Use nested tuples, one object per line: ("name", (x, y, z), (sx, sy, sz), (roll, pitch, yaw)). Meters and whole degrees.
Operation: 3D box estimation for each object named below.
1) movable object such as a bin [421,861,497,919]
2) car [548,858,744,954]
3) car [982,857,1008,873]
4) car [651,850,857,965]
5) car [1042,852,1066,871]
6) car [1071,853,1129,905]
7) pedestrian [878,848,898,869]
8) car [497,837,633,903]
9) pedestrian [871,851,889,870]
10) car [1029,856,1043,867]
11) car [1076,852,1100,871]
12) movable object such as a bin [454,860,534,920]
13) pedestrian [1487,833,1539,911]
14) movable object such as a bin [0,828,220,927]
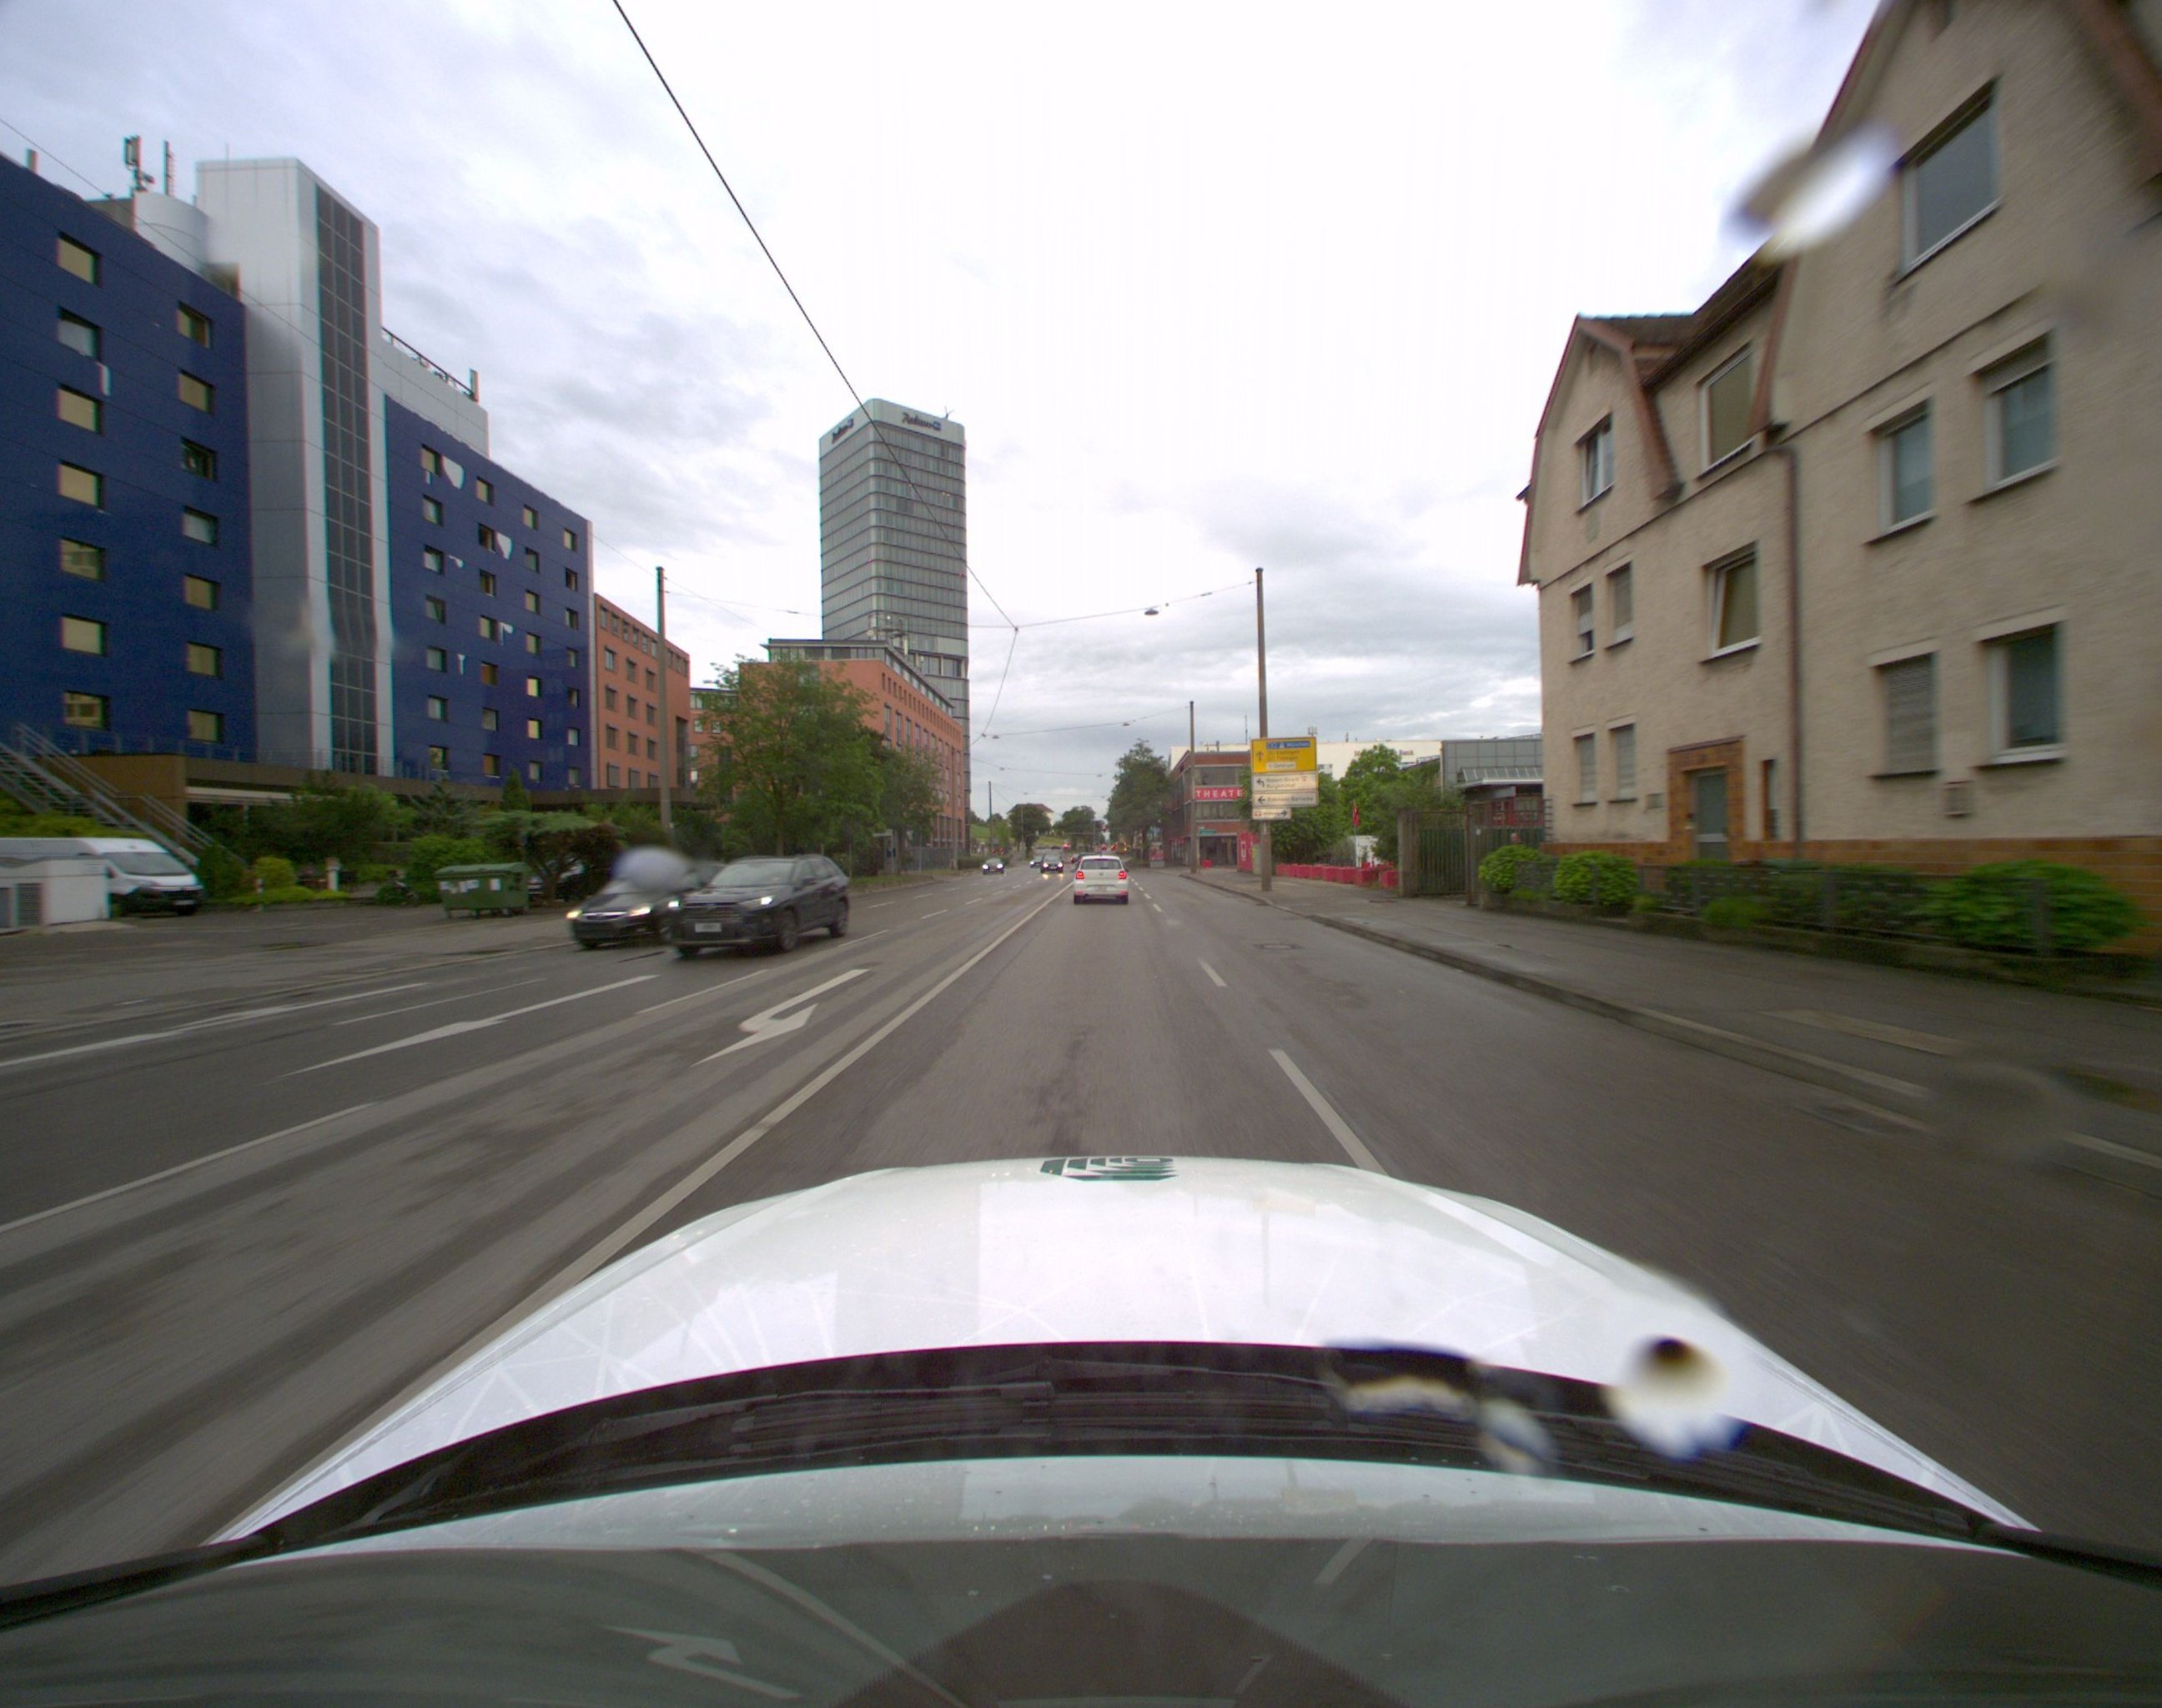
("movable object such as a bin", (-17.103, 0.974, 22.419), (1.380, 1.491, 0.955), (-4, -2, 13))
("car", (-8.858, 0.971, 17.017), (1.701, 1.566, 4.036), (-4, 1, 2))
("car", (-7.893, 0.979, 74.735), (1.614, 1.323, 4.450), (-3, 1, 3))
("car", (-5.663, 0.819, 14.795), (1.750, 1.555, 4.452), (-4, 1, 1))
("car", (-2.207, 0.608, 67.349), (1.653, 1.486, 3.821), (-1, 0, 2))
("car", (0.534, 0.721, 25.603), (1.666, 1.474, 3.777), (-1, 0, -1))
("pedestrian", (-17.523, 0.443, 74.013), (1.310, 1.823, 1.439), (-4, -2, 2))
("car", (-17.950, 0.581, 28.614), (1.829, 2.014, 4.317), (-4, -2, 2))
("pedestrian", (-18.645, 0.617, 75.472), (1.202, 1.679, 1.420), (-4, -2, 2))
("car", (-5.704, 0.920, 103.851), (1.707, 1.365, 3.997), (-2, 0, -2))
("car", (0.682, 0.641, 72.905), (1.986, 1.574, 4.002), (-1, 0, 2))
("movable object such as a bin", (-15.704, 0.954, 21.819), (1.389, 1.491, 0.948), (-3, -2, -8))
("pedestrian", (10.030, 0.409, 18.931), (0.905, 1.764, 0.770), (0, -1, 13))
("movable object such as a bin", (-30.358, 0.753, 24.982), (5.605, 2.628, 2.162), (-4, -2, 1))
